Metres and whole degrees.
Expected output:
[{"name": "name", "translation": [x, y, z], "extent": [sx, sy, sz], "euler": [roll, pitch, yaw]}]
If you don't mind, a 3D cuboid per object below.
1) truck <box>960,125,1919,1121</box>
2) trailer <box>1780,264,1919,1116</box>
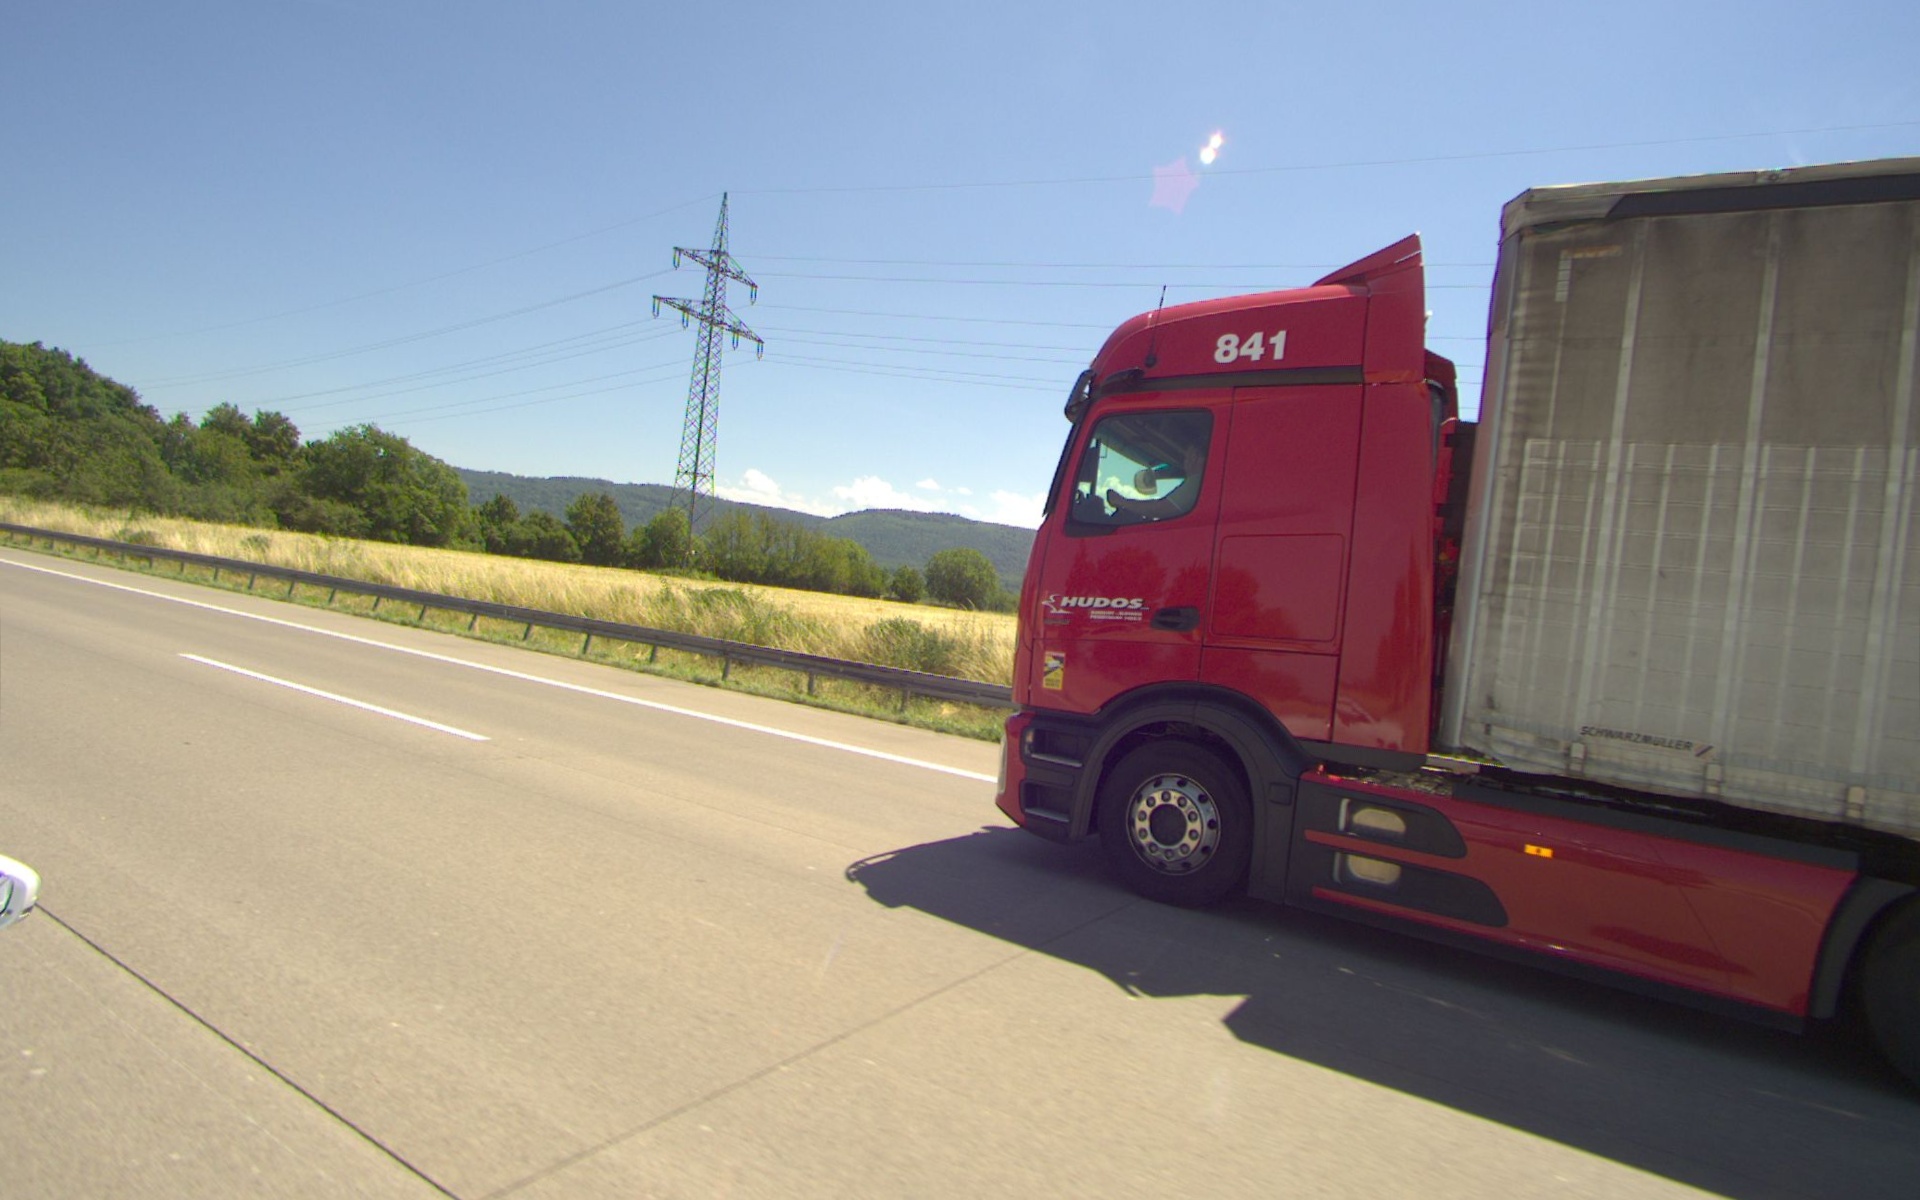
[{"name": "truck", "translation": [3.609, 0.055, 6.135], "extent": [6.167, 4.148, 2.912], "euler": [7, -1, 31]}, {"name": "trailer", "translation": [10.547, 0.870, 1.906], "extent": [13.286, 4.148, 2.880], "euler": [7, -1, 31]}]
